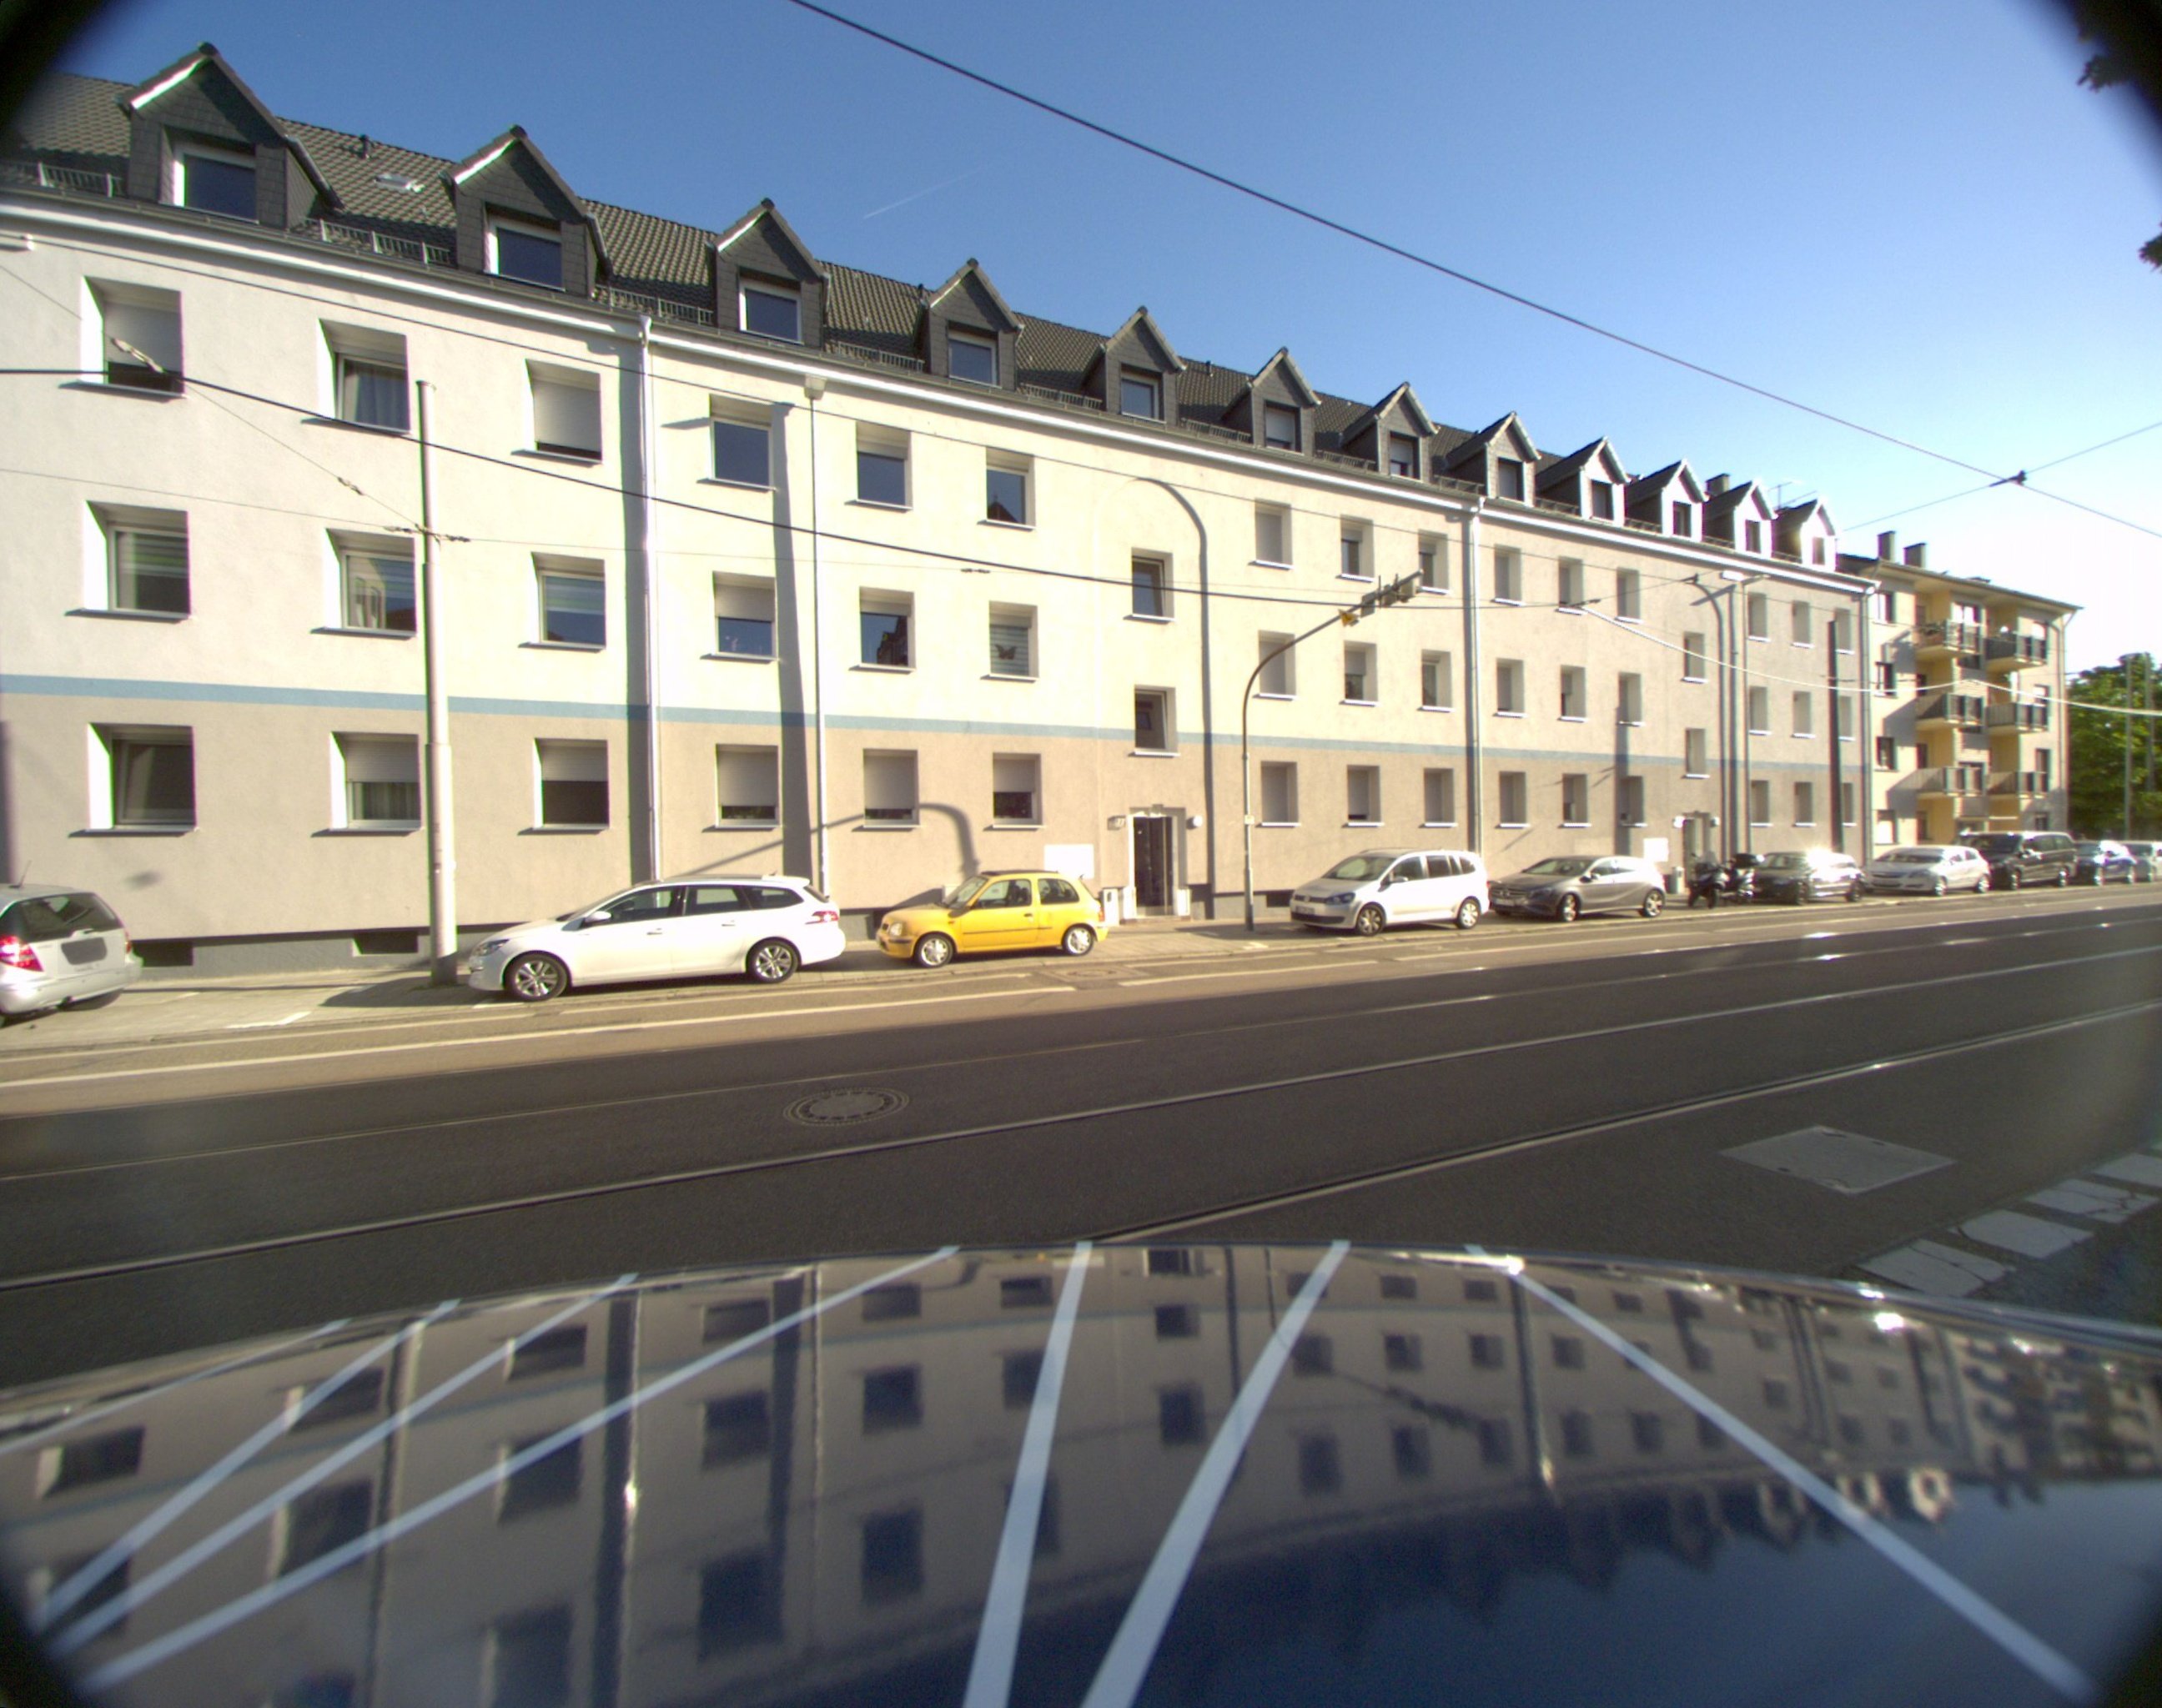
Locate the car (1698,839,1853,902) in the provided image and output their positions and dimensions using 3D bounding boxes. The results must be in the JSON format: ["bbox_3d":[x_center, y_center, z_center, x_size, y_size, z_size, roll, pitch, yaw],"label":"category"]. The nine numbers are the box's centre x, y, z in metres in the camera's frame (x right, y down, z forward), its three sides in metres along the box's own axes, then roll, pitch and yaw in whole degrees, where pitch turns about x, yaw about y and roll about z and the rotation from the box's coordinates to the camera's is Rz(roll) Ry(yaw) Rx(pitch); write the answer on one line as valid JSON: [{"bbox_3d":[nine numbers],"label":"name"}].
[{"bbox_3d":[19.529,0.398,21.376,3.907,1.562,1.611,-2,2,-21],"label":"car"}]

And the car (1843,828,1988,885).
[{"bbox_3d":[25.756,0.023,23.466,3.908,1.562,1.802,-2,2,-23],"label":"car"}]

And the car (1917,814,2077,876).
[{"bbox_3d":[31.028,-0.352,25.746,5.008,1.910,1.932,-2,2,-21],"label":"car"}]

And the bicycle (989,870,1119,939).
[{"bbox_3d":[-0.545,0.975,15.289,2.330,1.190,1.097,-2,1,-23],"label":"bicycle"}]

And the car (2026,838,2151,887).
[{"bbox_3d":[36.016,0.251,27.157,4.223,1.562,1.610,-2,2,-22],"label":"car"}]

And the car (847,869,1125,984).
[{"bbox_3d":[-1.531,1.071,12.412,4.205,1.423,1.515,-3,2,-23],"label":"car"}]

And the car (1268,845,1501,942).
[{"bbox_3d":[6.286,0.703,15.664,4.631,1.656,1.756,-2,2,-25],"label":"car"}]

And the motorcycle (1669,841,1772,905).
[{"bbox_3d":[16.457,0.458,19.533,2.711,1.513,0.806,-2,3,-21],"label":"motorcycle"}]

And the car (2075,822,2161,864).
[{"bbox_3d":[40.645,-0.457,29.506,3.635,1.534,1.555,-2,2,-22],"label":"car"}]

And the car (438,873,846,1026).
[{"bbox_3d":[-5.713,1.162,10.528,4.514,1.562,1.681,-2,2,-22],"label":"car"}]

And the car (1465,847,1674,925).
[{"bbox_3d":[11.353,0.652,17.680,4.370,1.546,1.866,-1,2,-21],"label":"car"}]

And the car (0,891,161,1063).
[{"bbox_3d":[-12.854,1.338,7.794,3.907,1.562,1.756,-2,4,-21],"label":"car"}]
